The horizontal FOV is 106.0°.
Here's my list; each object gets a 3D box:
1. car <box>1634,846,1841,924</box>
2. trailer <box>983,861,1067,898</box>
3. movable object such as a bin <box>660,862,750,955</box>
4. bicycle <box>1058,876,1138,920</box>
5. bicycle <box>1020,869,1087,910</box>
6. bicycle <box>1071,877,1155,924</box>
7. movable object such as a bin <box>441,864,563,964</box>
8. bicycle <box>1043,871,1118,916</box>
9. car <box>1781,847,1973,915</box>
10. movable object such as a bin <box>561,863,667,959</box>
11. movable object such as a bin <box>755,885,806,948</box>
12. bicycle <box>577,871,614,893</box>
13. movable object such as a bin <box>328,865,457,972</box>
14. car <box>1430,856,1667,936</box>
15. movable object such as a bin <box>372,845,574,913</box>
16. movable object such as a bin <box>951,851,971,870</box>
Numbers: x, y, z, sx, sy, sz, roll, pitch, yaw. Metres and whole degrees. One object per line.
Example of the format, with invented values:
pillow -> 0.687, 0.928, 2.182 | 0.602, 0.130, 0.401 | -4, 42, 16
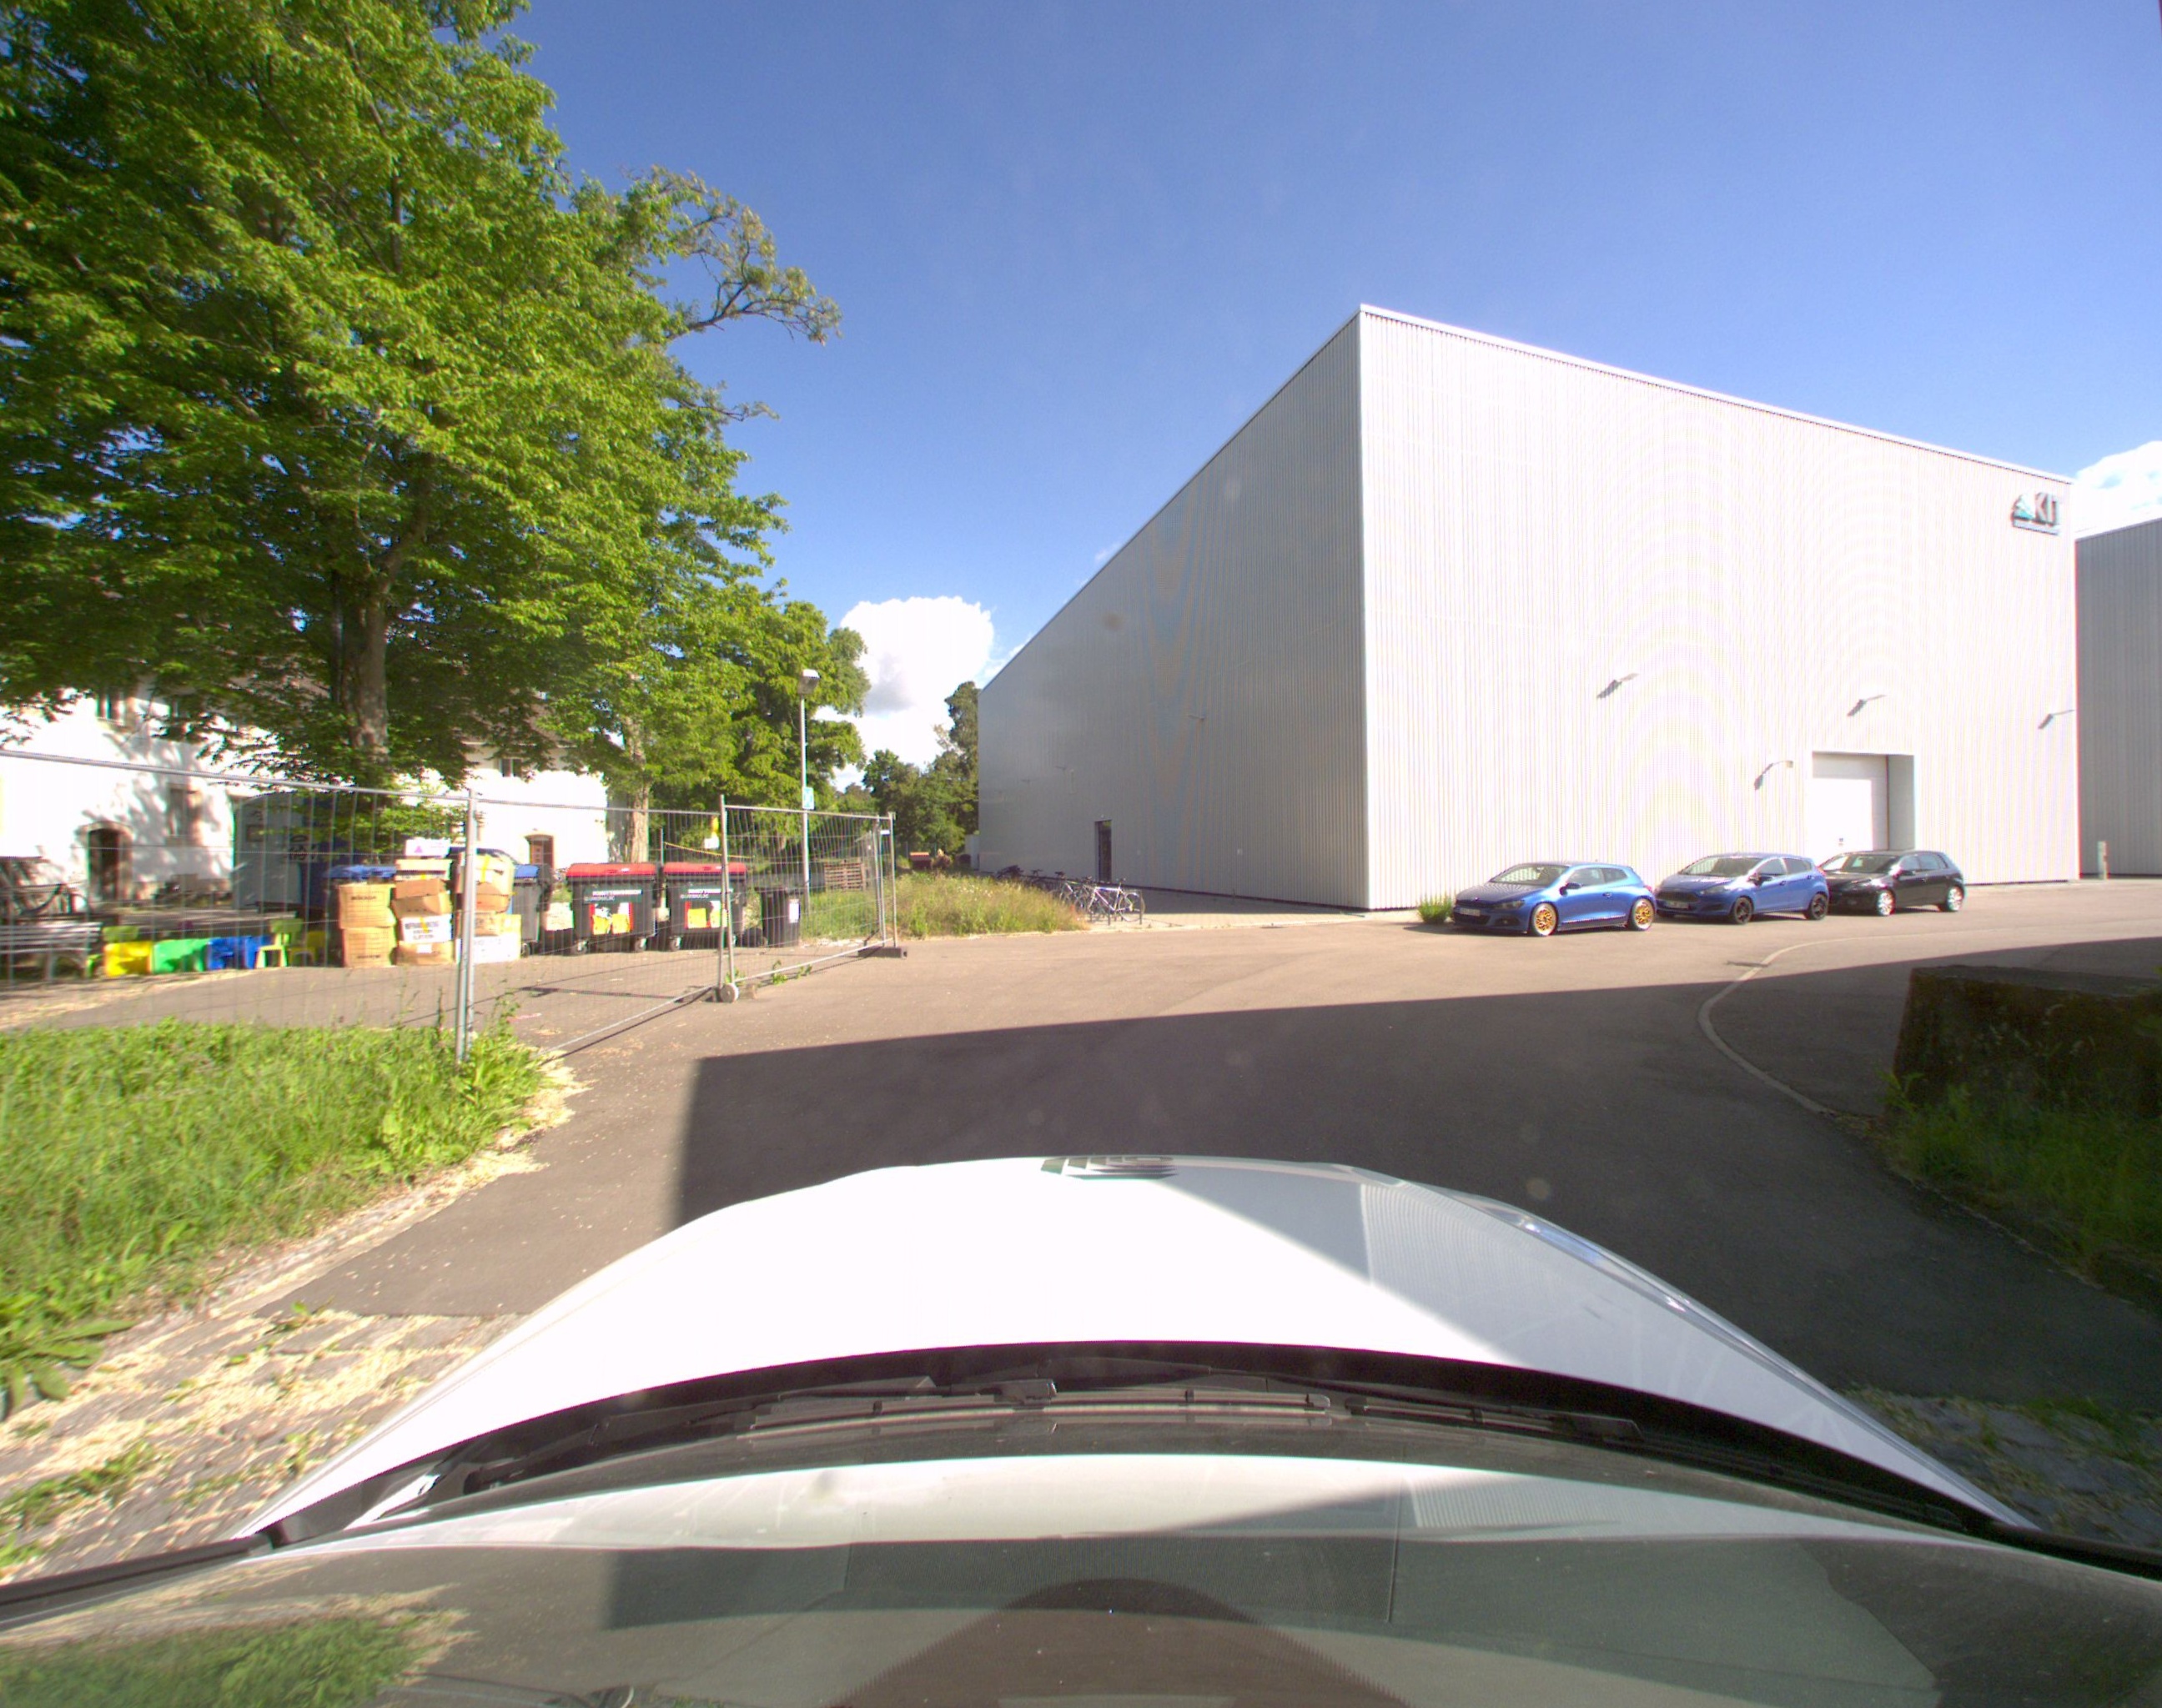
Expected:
car -> 14.319, 0.610, 17.794 | 3.898, 1.473, 1.744 | -1, 2, -20
trailer -> -1.988, 0.878, 28.865 | 2.719, 1.200, 1.238 | -1, 0, -20
movable object such as a bin -> -6.236, 0.870, 13.589 | 1.293, 1.426, 1.025 | -1, 0, -23
bicycle -> 0.416, 1.053, 19.835 | 1.889, 0.978, 0.430 | -1, 0, -20
bicycle -> -0.784, 1.014, 23.650 | 1.889, 1.126, 0.430 | -1, 0, -20
bicycle -> 0.751, 1.051, 18.691 | 1.889, 0.978, 0.430 | -1, 0, -20
movable object such as a bin -> -8.904, 0.886, 12.592 | 1.292, 1.426, 1.025 | -1, 0, -21
bicycle -> -0.004, 1.000, 21.040 | 1.889, 1.082, 0.430 | -1, 0, -20
car -> 18.944, 0.578, 19.394 | 3.898, 1.418, 1.744 | -1, 2, -20
movable object such as a bin -> -7.462, 0.867, 13.093 | 1.292, 1.426, 1.025 | -1, 0, -21
movable object such as a bin -> -5.083, 1.041, 13.822 | 0.640, 1.007, 0.604 | -1, 0, -3
bicycle -> -22.355, 1.280, 37.511 | 1.435, 0.984, 0.260 | -1, 0, -20
movable object such as a bin -> -10.028, 0.898, 11.920 | 1.086, 1.438, 1.050 | -1, 0, -17
car -> 9.102, 0.740, 15.874 | 4.168, 1.384, 1.743 | 0, 0, -20
movable object such as a bin -> -19.597, 0.757, 26.555 | 4.889, 1.970, 1.919 | -1, 0, -21
movable object such as a bin -> -10.879, 0.615, 73.703 | 1.366, 1.656, 2.826 | -1, 0, -16
